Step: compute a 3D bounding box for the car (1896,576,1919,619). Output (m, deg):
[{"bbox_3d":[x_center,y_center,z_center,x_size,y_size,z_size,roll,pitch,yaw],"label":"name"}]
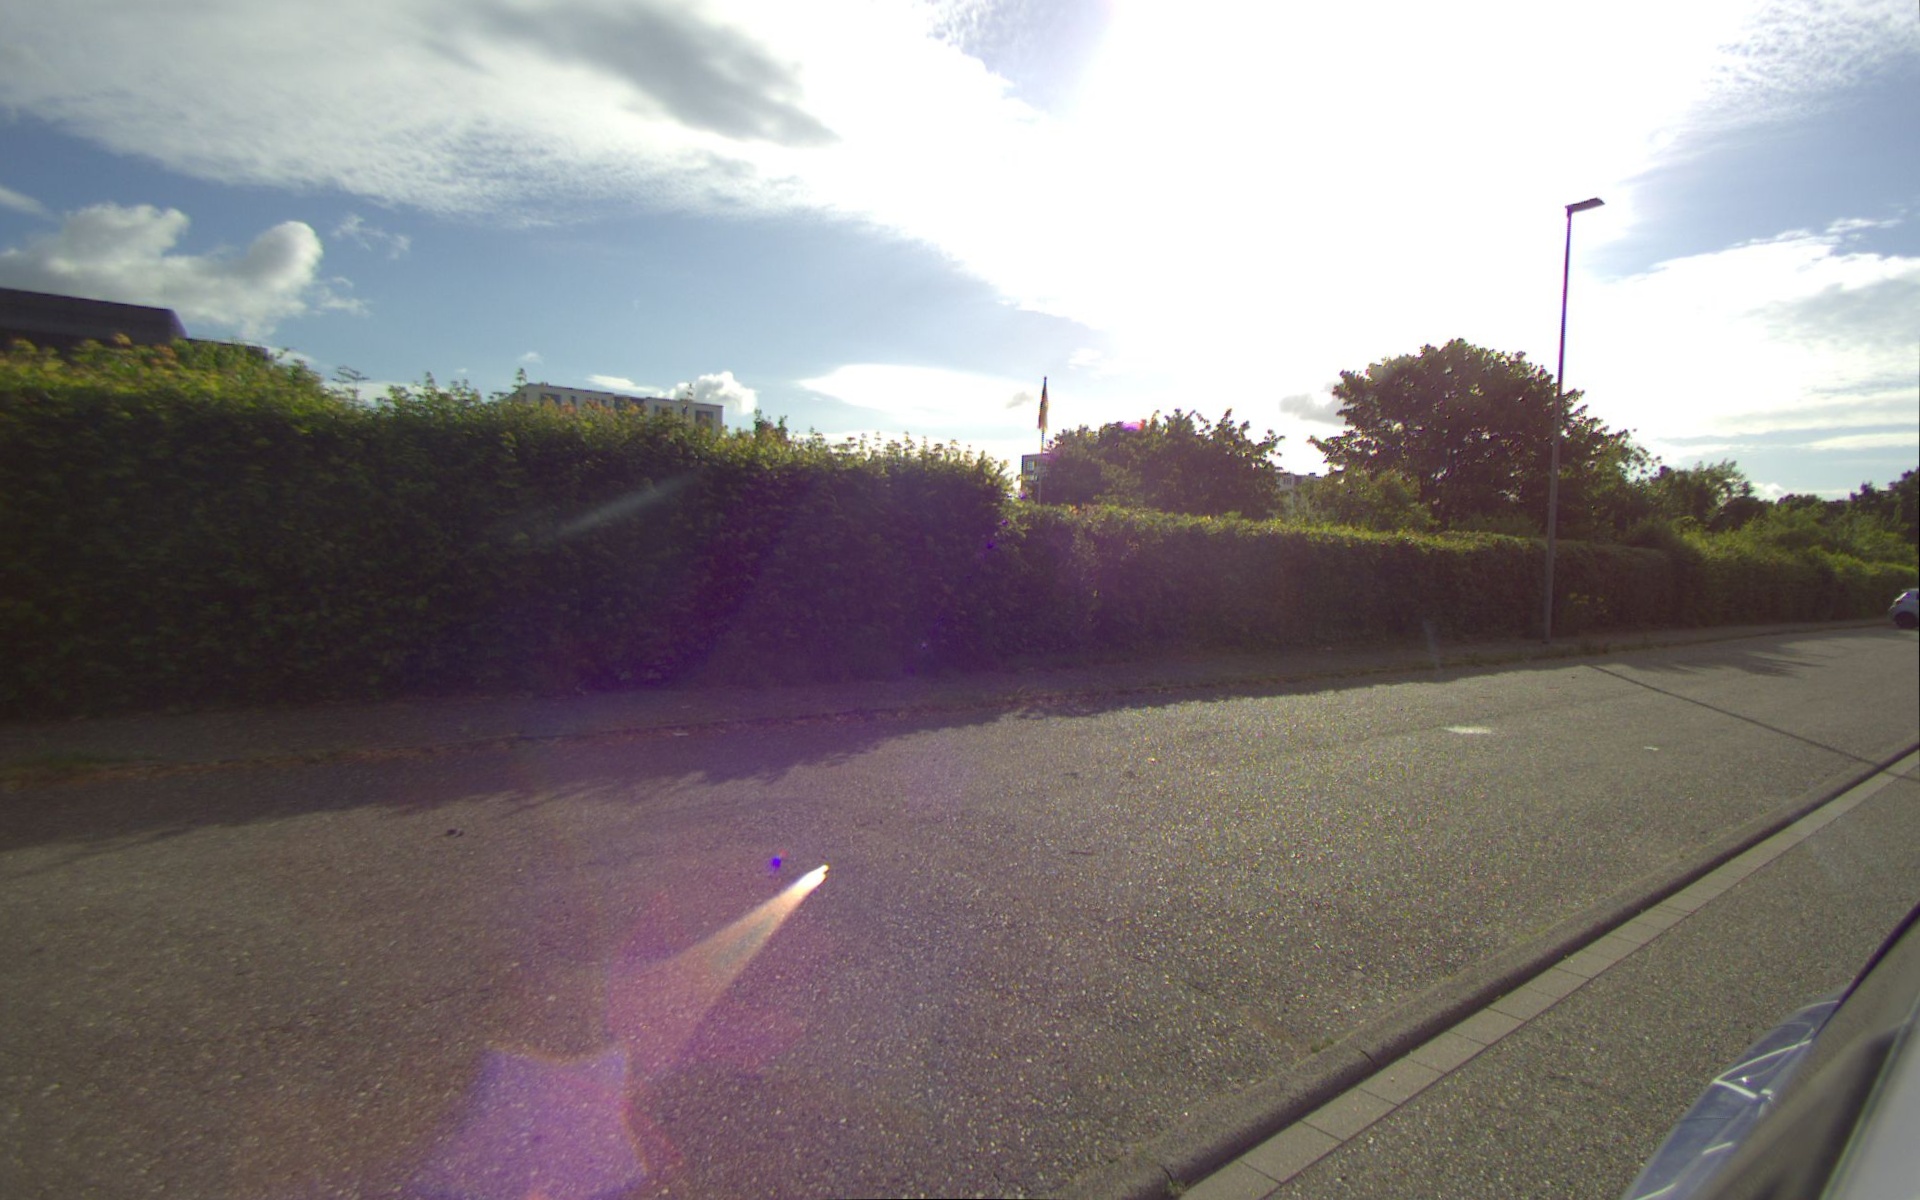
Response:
[{"bbox_3d":[36.082,0.063,35.969,1.662,1.508,3.868,1,5,-40],"label":"car"}]
